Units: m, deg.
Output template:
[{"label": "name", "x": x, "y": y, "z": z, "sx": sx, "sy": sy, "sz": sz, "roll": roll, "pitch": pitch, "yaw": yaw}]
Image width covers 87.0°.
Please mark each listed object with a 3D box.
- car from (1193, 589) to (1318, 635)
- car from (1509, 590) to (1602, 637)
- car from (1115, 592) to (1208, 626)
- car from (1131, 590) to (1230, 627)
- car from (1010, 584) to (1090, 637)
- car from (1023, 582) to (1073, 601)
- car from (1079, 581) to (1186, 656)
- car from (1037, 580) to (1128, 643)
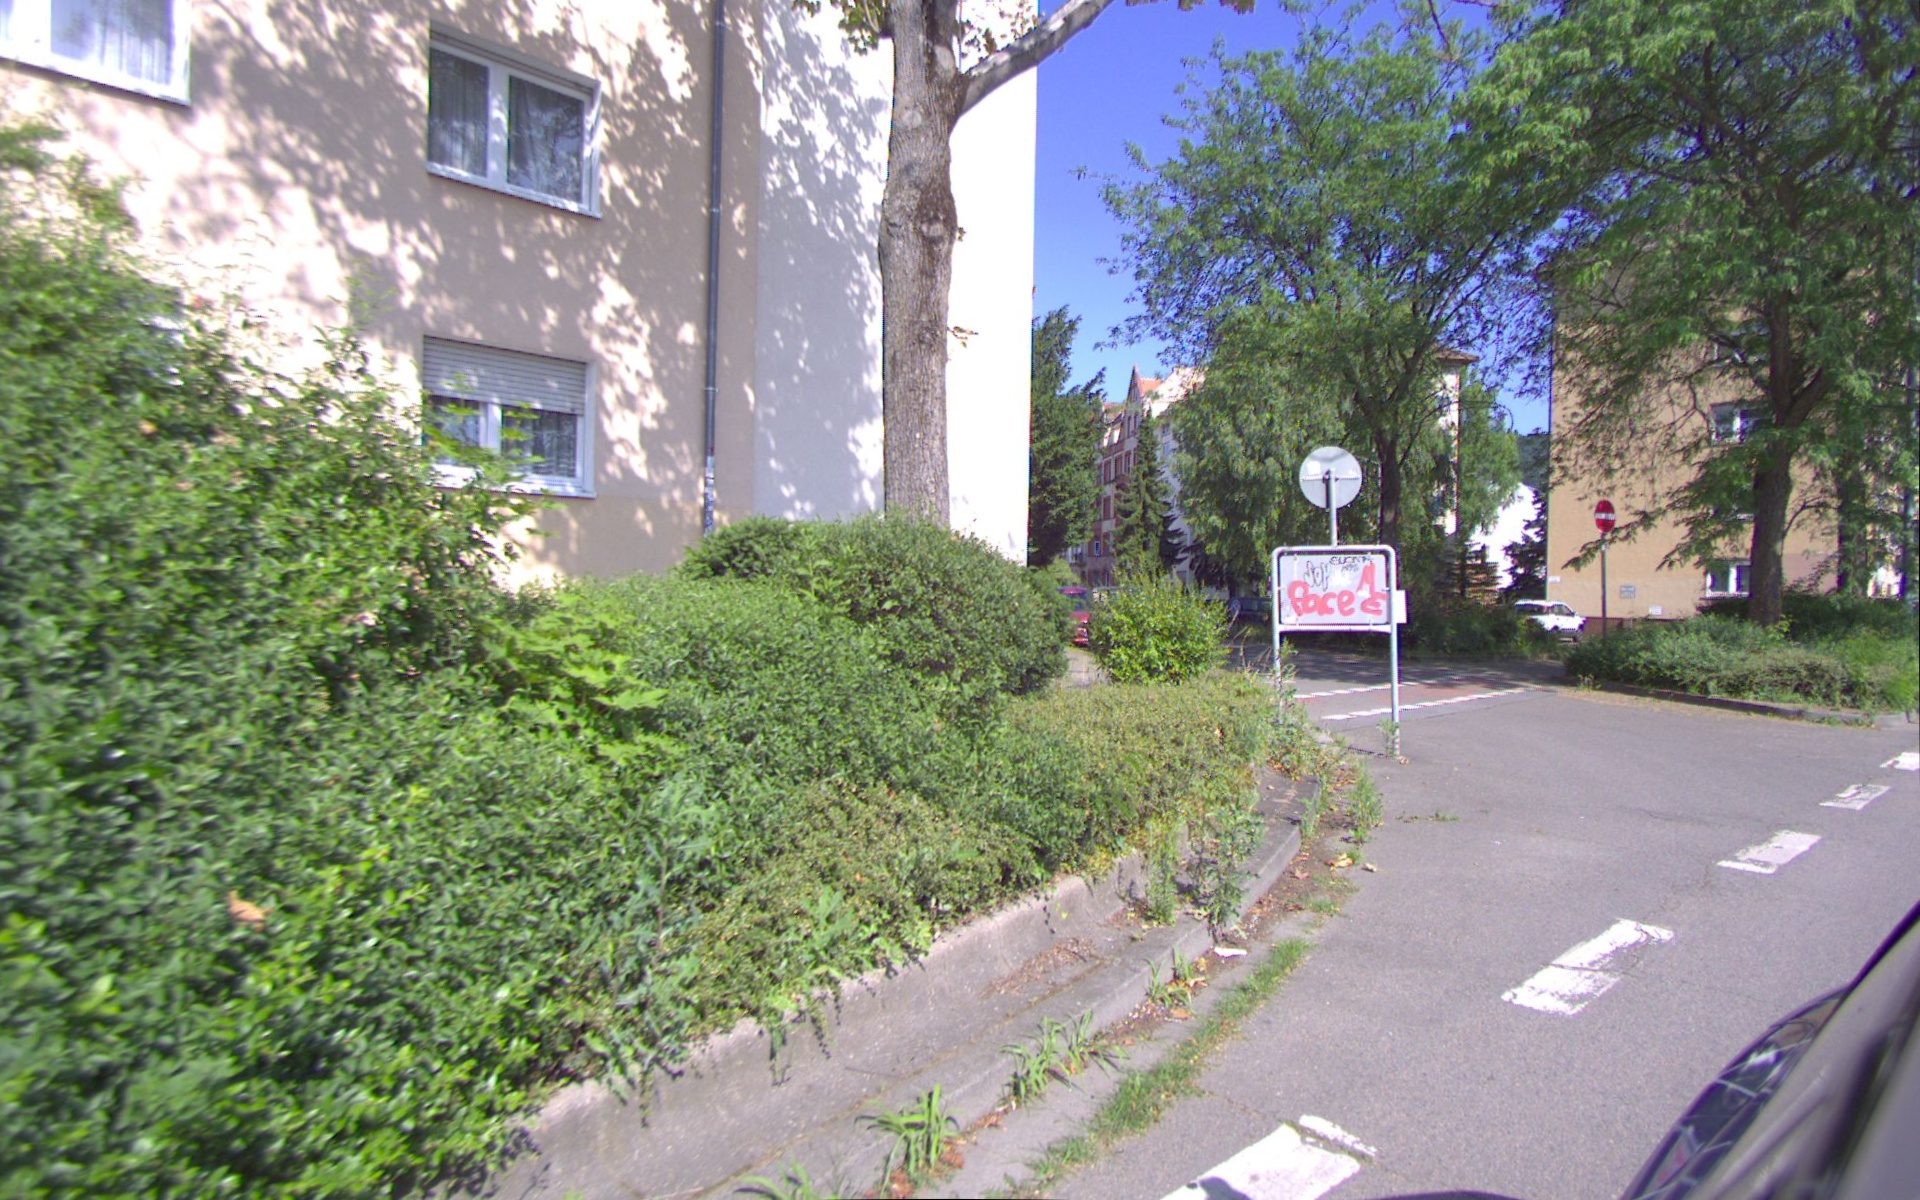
[{"label": "car", "x": 10.066, "y": 0.368, "z": 34.535, "sx": 3.750, "sy": 1.460, "sz": 1.757, "roll": 1, "pitch": 1, "yaw": 37}, {"label": "car", "x": 22.335, "y": 0.493, "z": 37.926, "sx": 3.714, "sy": 1.661, "sz": 1.661, "roll": 0, "pitch": 0, "yaw": -36}, {"label": "car", "x": 9.586, "y": 0.404, "z": 48.265, "sx": 3.965, "sy": 1.552, "sz": 1.914, "roll": 1, "pitch": 0, "yaw": 30}, {"label": "car", "x": 9.902, "y": 0.361, "z": 45.428, "sx": 3.965, "sy": 1.532, "sz": 1.914, "roll": 1, "pitch": 0, "yaw": 30}, {"label": "car", "x": 3.000, "y": 0.321, "z": 34.670, "sx": 1.752, "sy": 1.694, "sz": 4.216, "roll": 0, "pitch": 1, "yaw": -9}, {"label": "car", "x": 7.165, "y": -0.719, "z": 82.628, "sx": 3.924, "sy": 1.444, "sz": 1.909, "roll": 1, "pitch": 1, "yaw": 0}, {"label": "car", "x": 4.074, "y": 0.390, "z": 24.410, "sx": 1.653, "sy": 1.675, "sz": 3.593, "roll": 0, "pitch": 1, "yaw": -5}, {"label": "car", "x": 3.528, "y": 0.296, "z": 29.791, "sx": 1.628, "sy": 1.695, "sz": 3.854, "roll": 1, "pitch": 1, "yaw": -9}]
